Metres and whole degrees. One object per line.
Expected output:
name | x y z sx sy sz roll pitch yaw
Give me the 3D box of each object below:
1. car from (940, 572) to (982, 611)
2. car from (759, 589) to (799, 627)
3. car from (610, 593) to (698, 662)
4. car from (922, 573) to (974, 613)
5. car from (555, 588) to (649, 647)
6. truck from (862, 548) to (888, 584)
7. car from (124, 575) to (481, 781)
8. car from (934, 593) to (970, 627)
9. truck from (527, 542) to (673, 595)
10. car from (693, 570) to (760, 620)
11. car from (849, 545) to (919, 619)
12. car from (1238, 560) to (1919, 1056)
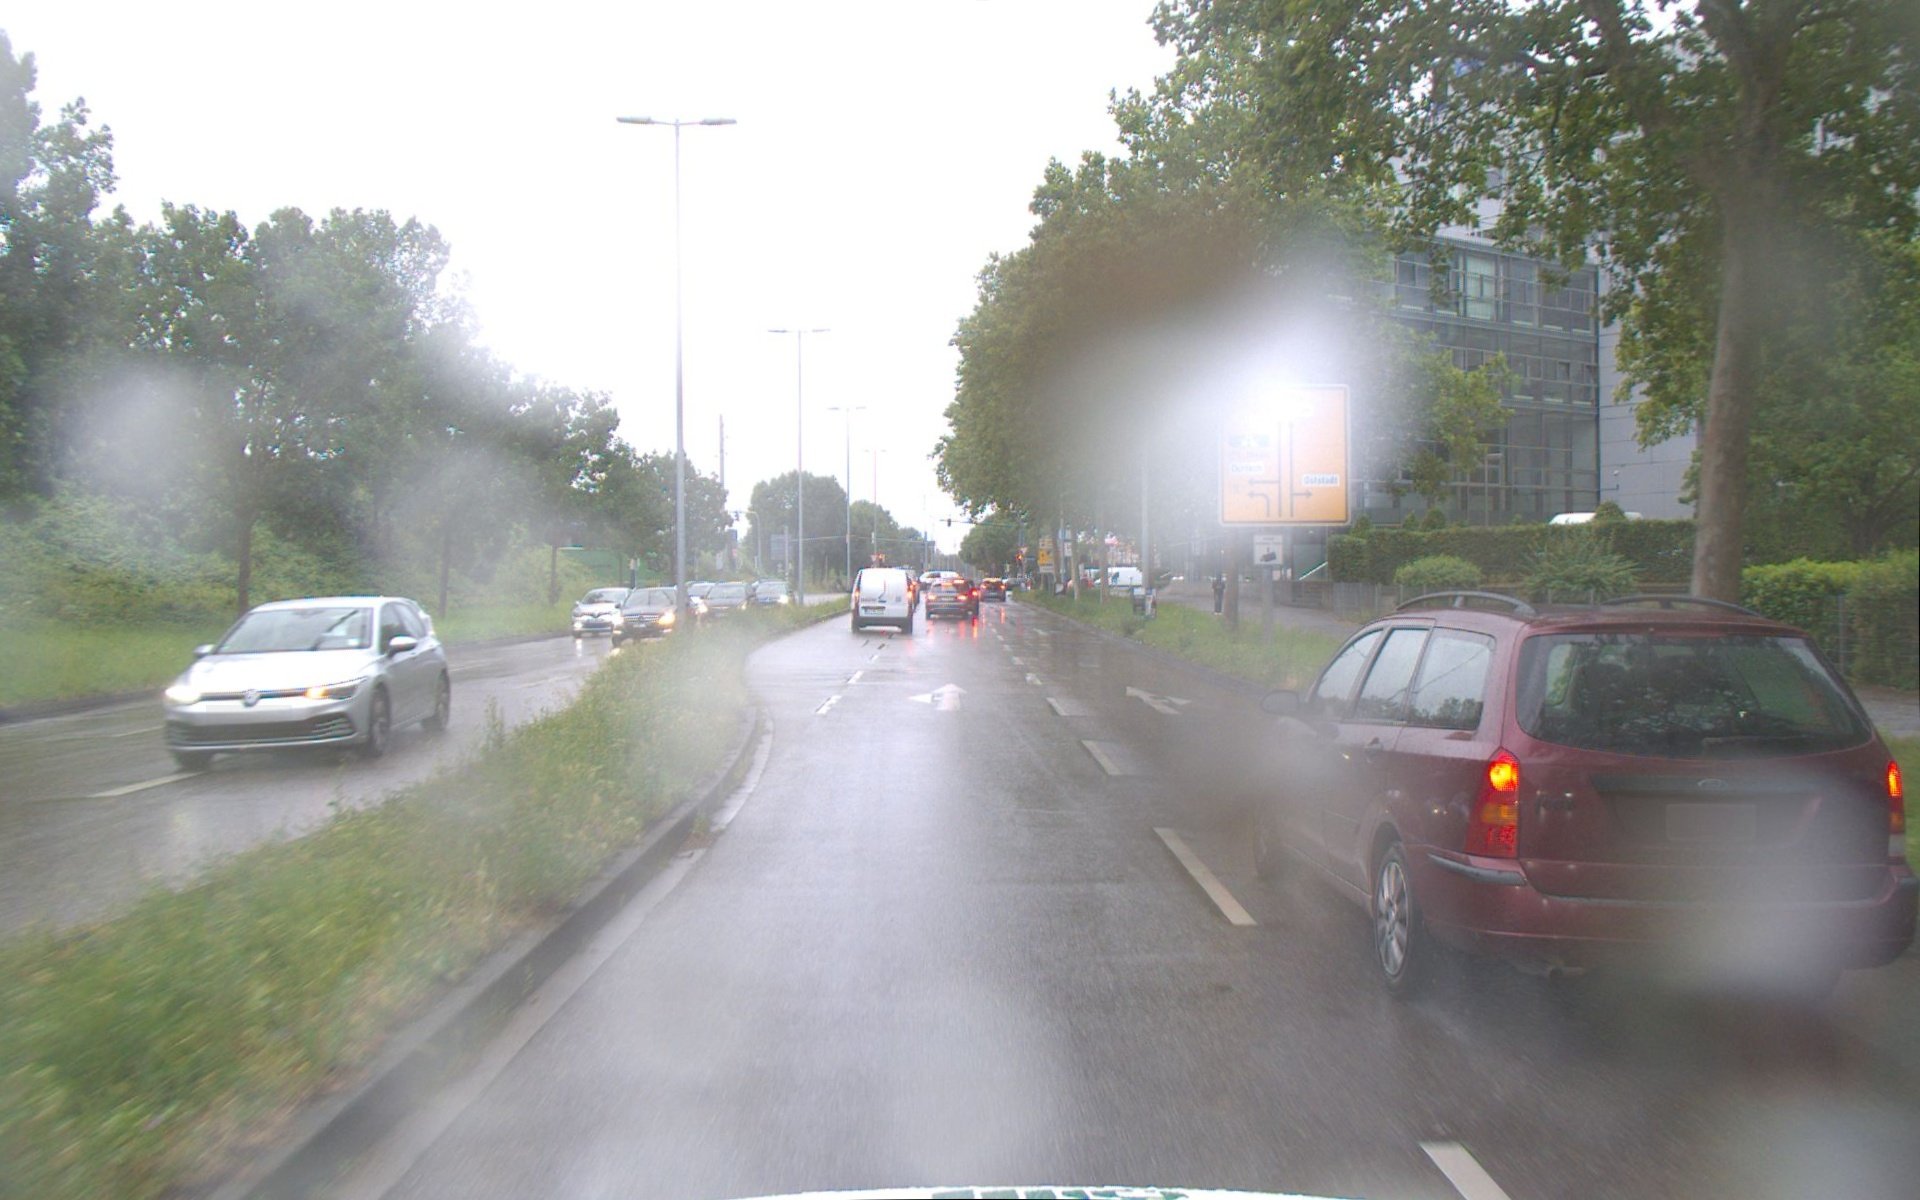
car | 0.019 -0.404 71.279 1.674 1.576 3.999 0 2 -2
car | -8.188 0.326 74.894 1.687 1.646 4.341 0 1 -5
car | -7.988 0.680 43.567 1.872 1.601 4.702 -2 1 -6
car | -0.504 -0.286 64.848 1.953 1.477 3.999 1 0 -2
car | -11.248 0.511 52.235 1.870 1.601 4.709 -3 1 0
truck | -5.998 -2.394 116.803 1.721 2.509 3.999 0 0 -2
car | -6.081 0.610 15.958 1.872 1.601 4.704 -3 1 -5
car | -0.373 0.460 79.165 1.676 1.470 4.000 0 1 0
truck | -25.588 -2.166 117.954 10.034 3.512 2.623 1 -1 -38
car | -8.164 -0.206 58.123 1.787 1.602 4.360 0 2 -1
car | -2.179 -0.466 48.048 1.953 2.049 3.998 0 -1 -2
car | 2.524 0.650 7.310 1.802 1.563 4.110 1 0 -1
